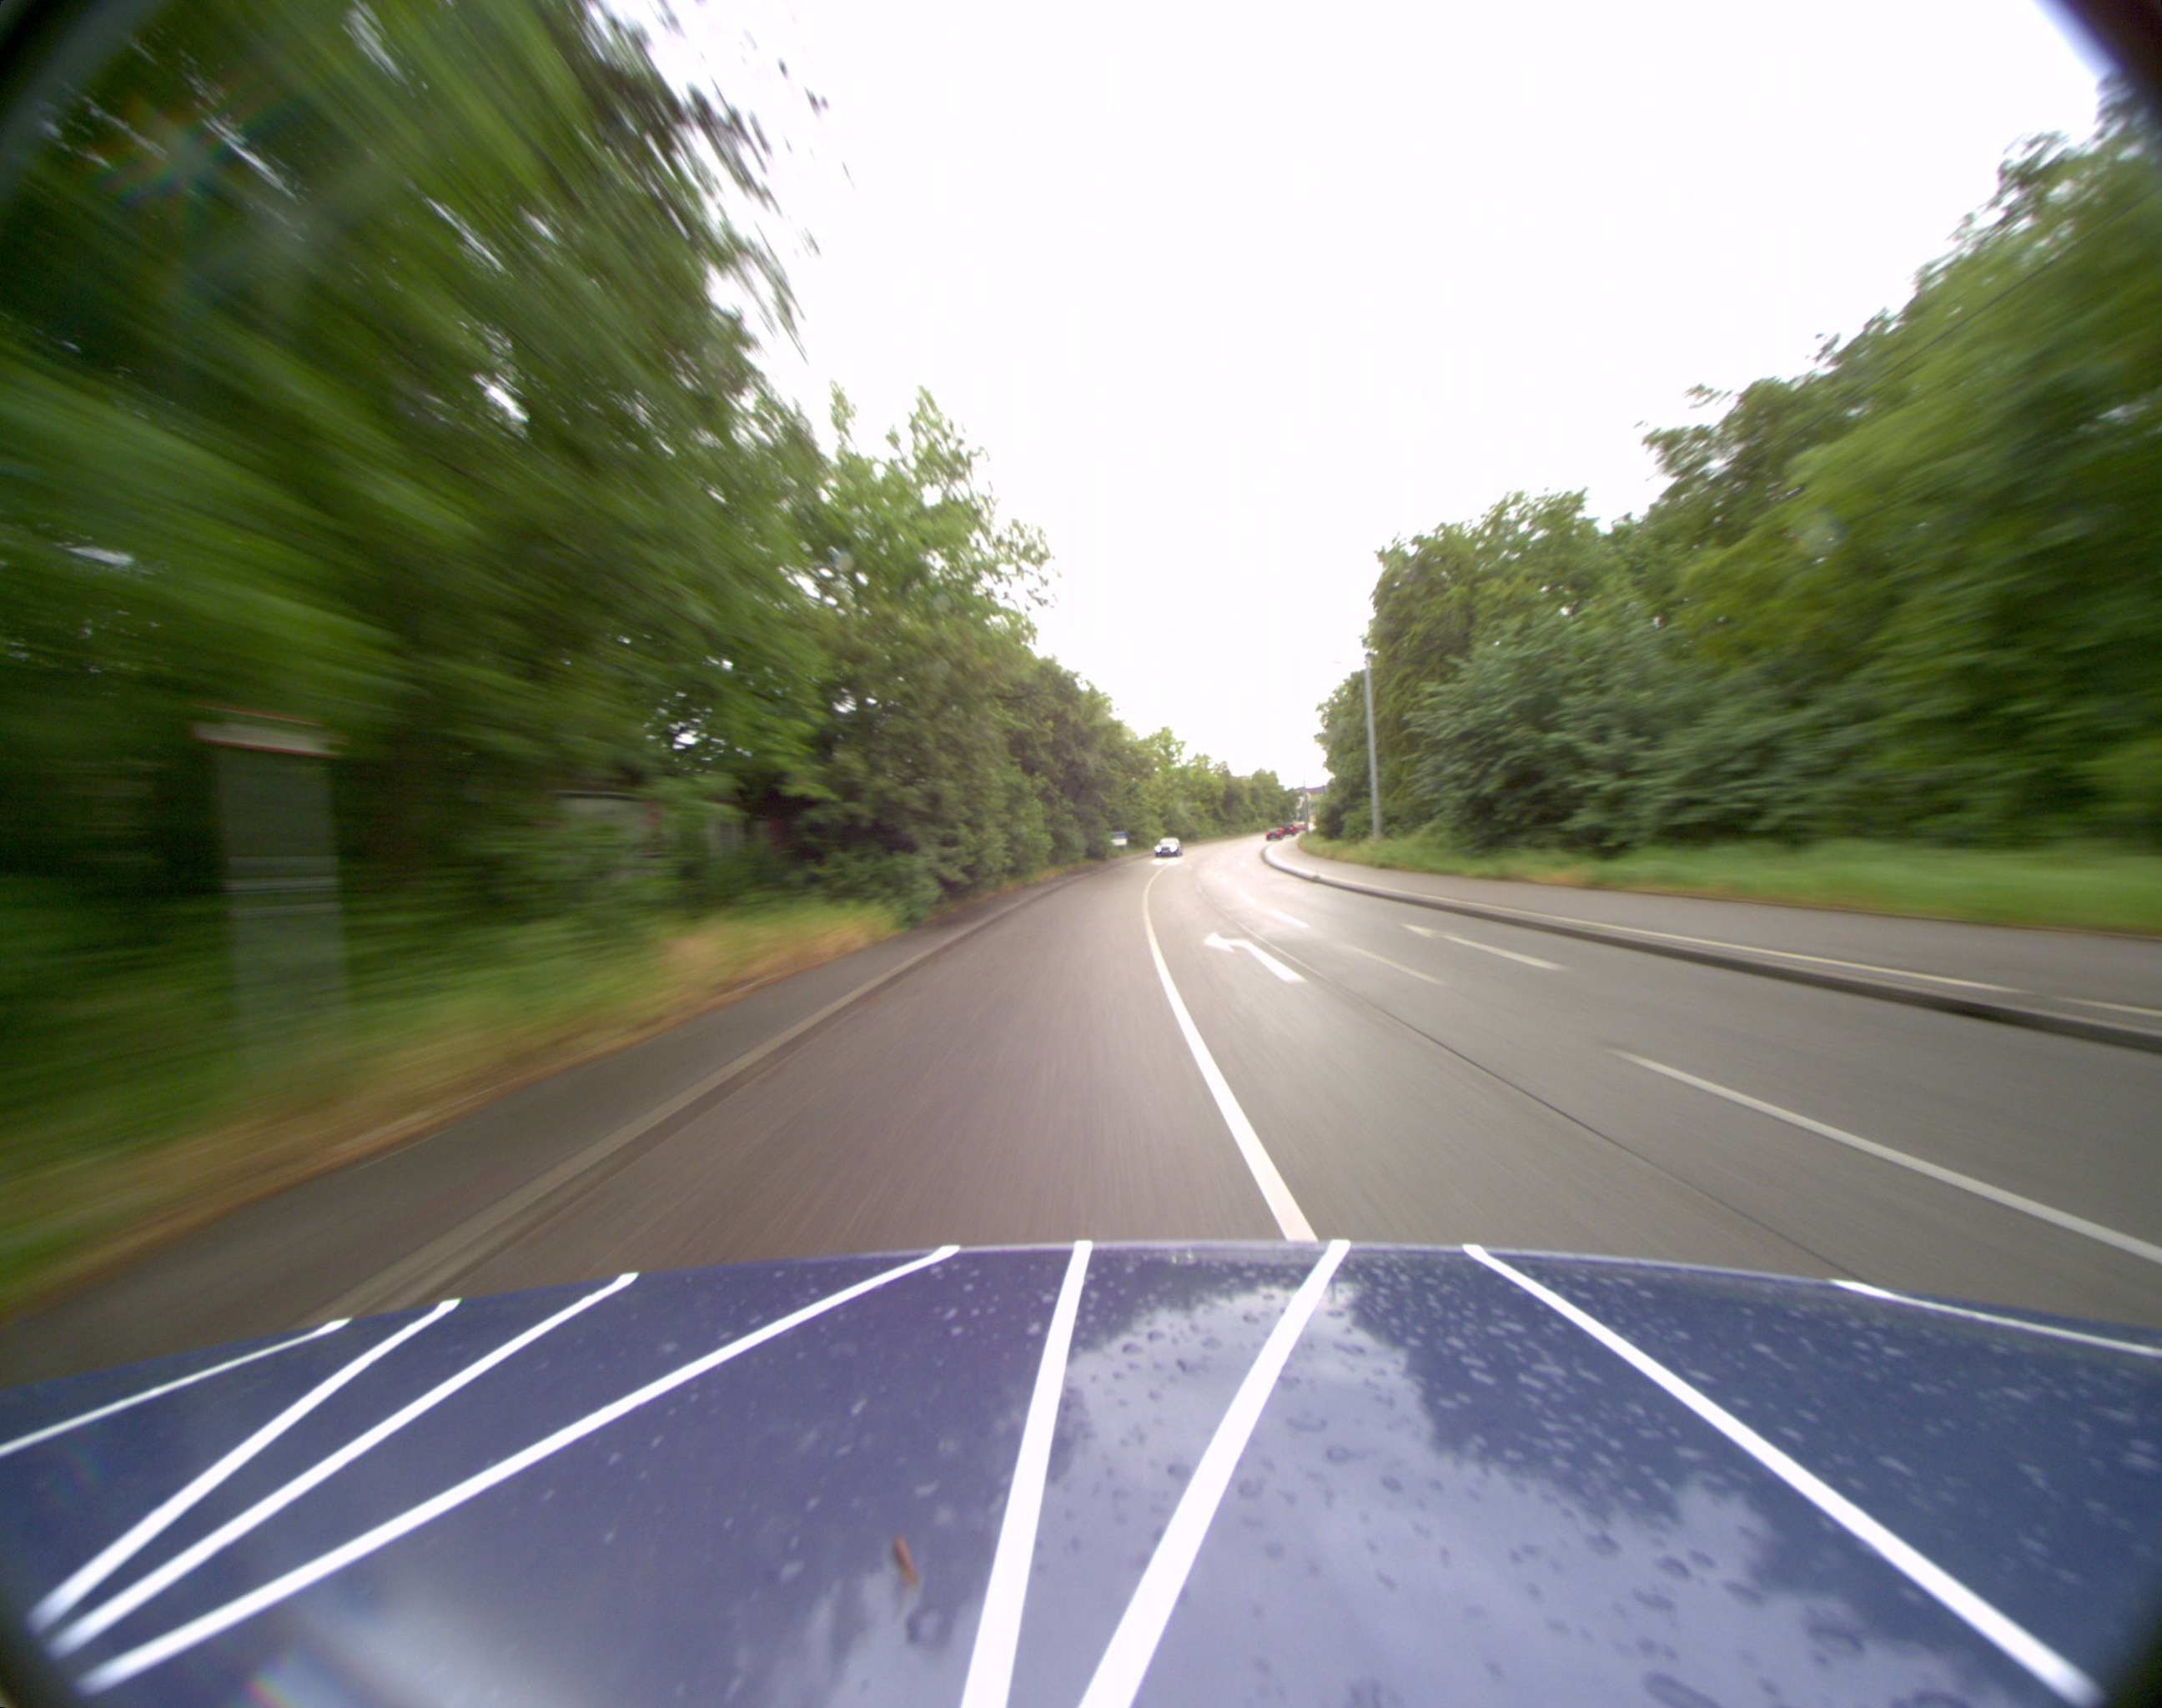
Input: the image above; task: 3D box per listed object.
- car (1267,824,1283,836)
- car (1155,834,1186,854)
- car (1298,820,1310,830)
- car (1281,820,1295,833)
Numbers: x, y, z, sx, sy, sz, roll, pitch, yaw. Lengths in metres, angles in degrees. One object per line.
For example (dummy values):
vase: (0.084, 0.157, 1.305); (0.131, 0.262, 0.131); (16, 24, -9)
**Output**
car: (24.379, -2.982, 95.254); (1.829, 1.432, 4.004); (-2, 1, 16)
car: (7.184, -0.786, 60.503); (1.829, 1.512, 4.004); (2, 2, 16)
car: (37.948, -4.903, 129.209); (1.829, 1.512, 4.004); (2, 2, 16)
car: (30.063, -3.938, 110.119); (1.829, 1.833, 4.716); (2, 2, 16)
